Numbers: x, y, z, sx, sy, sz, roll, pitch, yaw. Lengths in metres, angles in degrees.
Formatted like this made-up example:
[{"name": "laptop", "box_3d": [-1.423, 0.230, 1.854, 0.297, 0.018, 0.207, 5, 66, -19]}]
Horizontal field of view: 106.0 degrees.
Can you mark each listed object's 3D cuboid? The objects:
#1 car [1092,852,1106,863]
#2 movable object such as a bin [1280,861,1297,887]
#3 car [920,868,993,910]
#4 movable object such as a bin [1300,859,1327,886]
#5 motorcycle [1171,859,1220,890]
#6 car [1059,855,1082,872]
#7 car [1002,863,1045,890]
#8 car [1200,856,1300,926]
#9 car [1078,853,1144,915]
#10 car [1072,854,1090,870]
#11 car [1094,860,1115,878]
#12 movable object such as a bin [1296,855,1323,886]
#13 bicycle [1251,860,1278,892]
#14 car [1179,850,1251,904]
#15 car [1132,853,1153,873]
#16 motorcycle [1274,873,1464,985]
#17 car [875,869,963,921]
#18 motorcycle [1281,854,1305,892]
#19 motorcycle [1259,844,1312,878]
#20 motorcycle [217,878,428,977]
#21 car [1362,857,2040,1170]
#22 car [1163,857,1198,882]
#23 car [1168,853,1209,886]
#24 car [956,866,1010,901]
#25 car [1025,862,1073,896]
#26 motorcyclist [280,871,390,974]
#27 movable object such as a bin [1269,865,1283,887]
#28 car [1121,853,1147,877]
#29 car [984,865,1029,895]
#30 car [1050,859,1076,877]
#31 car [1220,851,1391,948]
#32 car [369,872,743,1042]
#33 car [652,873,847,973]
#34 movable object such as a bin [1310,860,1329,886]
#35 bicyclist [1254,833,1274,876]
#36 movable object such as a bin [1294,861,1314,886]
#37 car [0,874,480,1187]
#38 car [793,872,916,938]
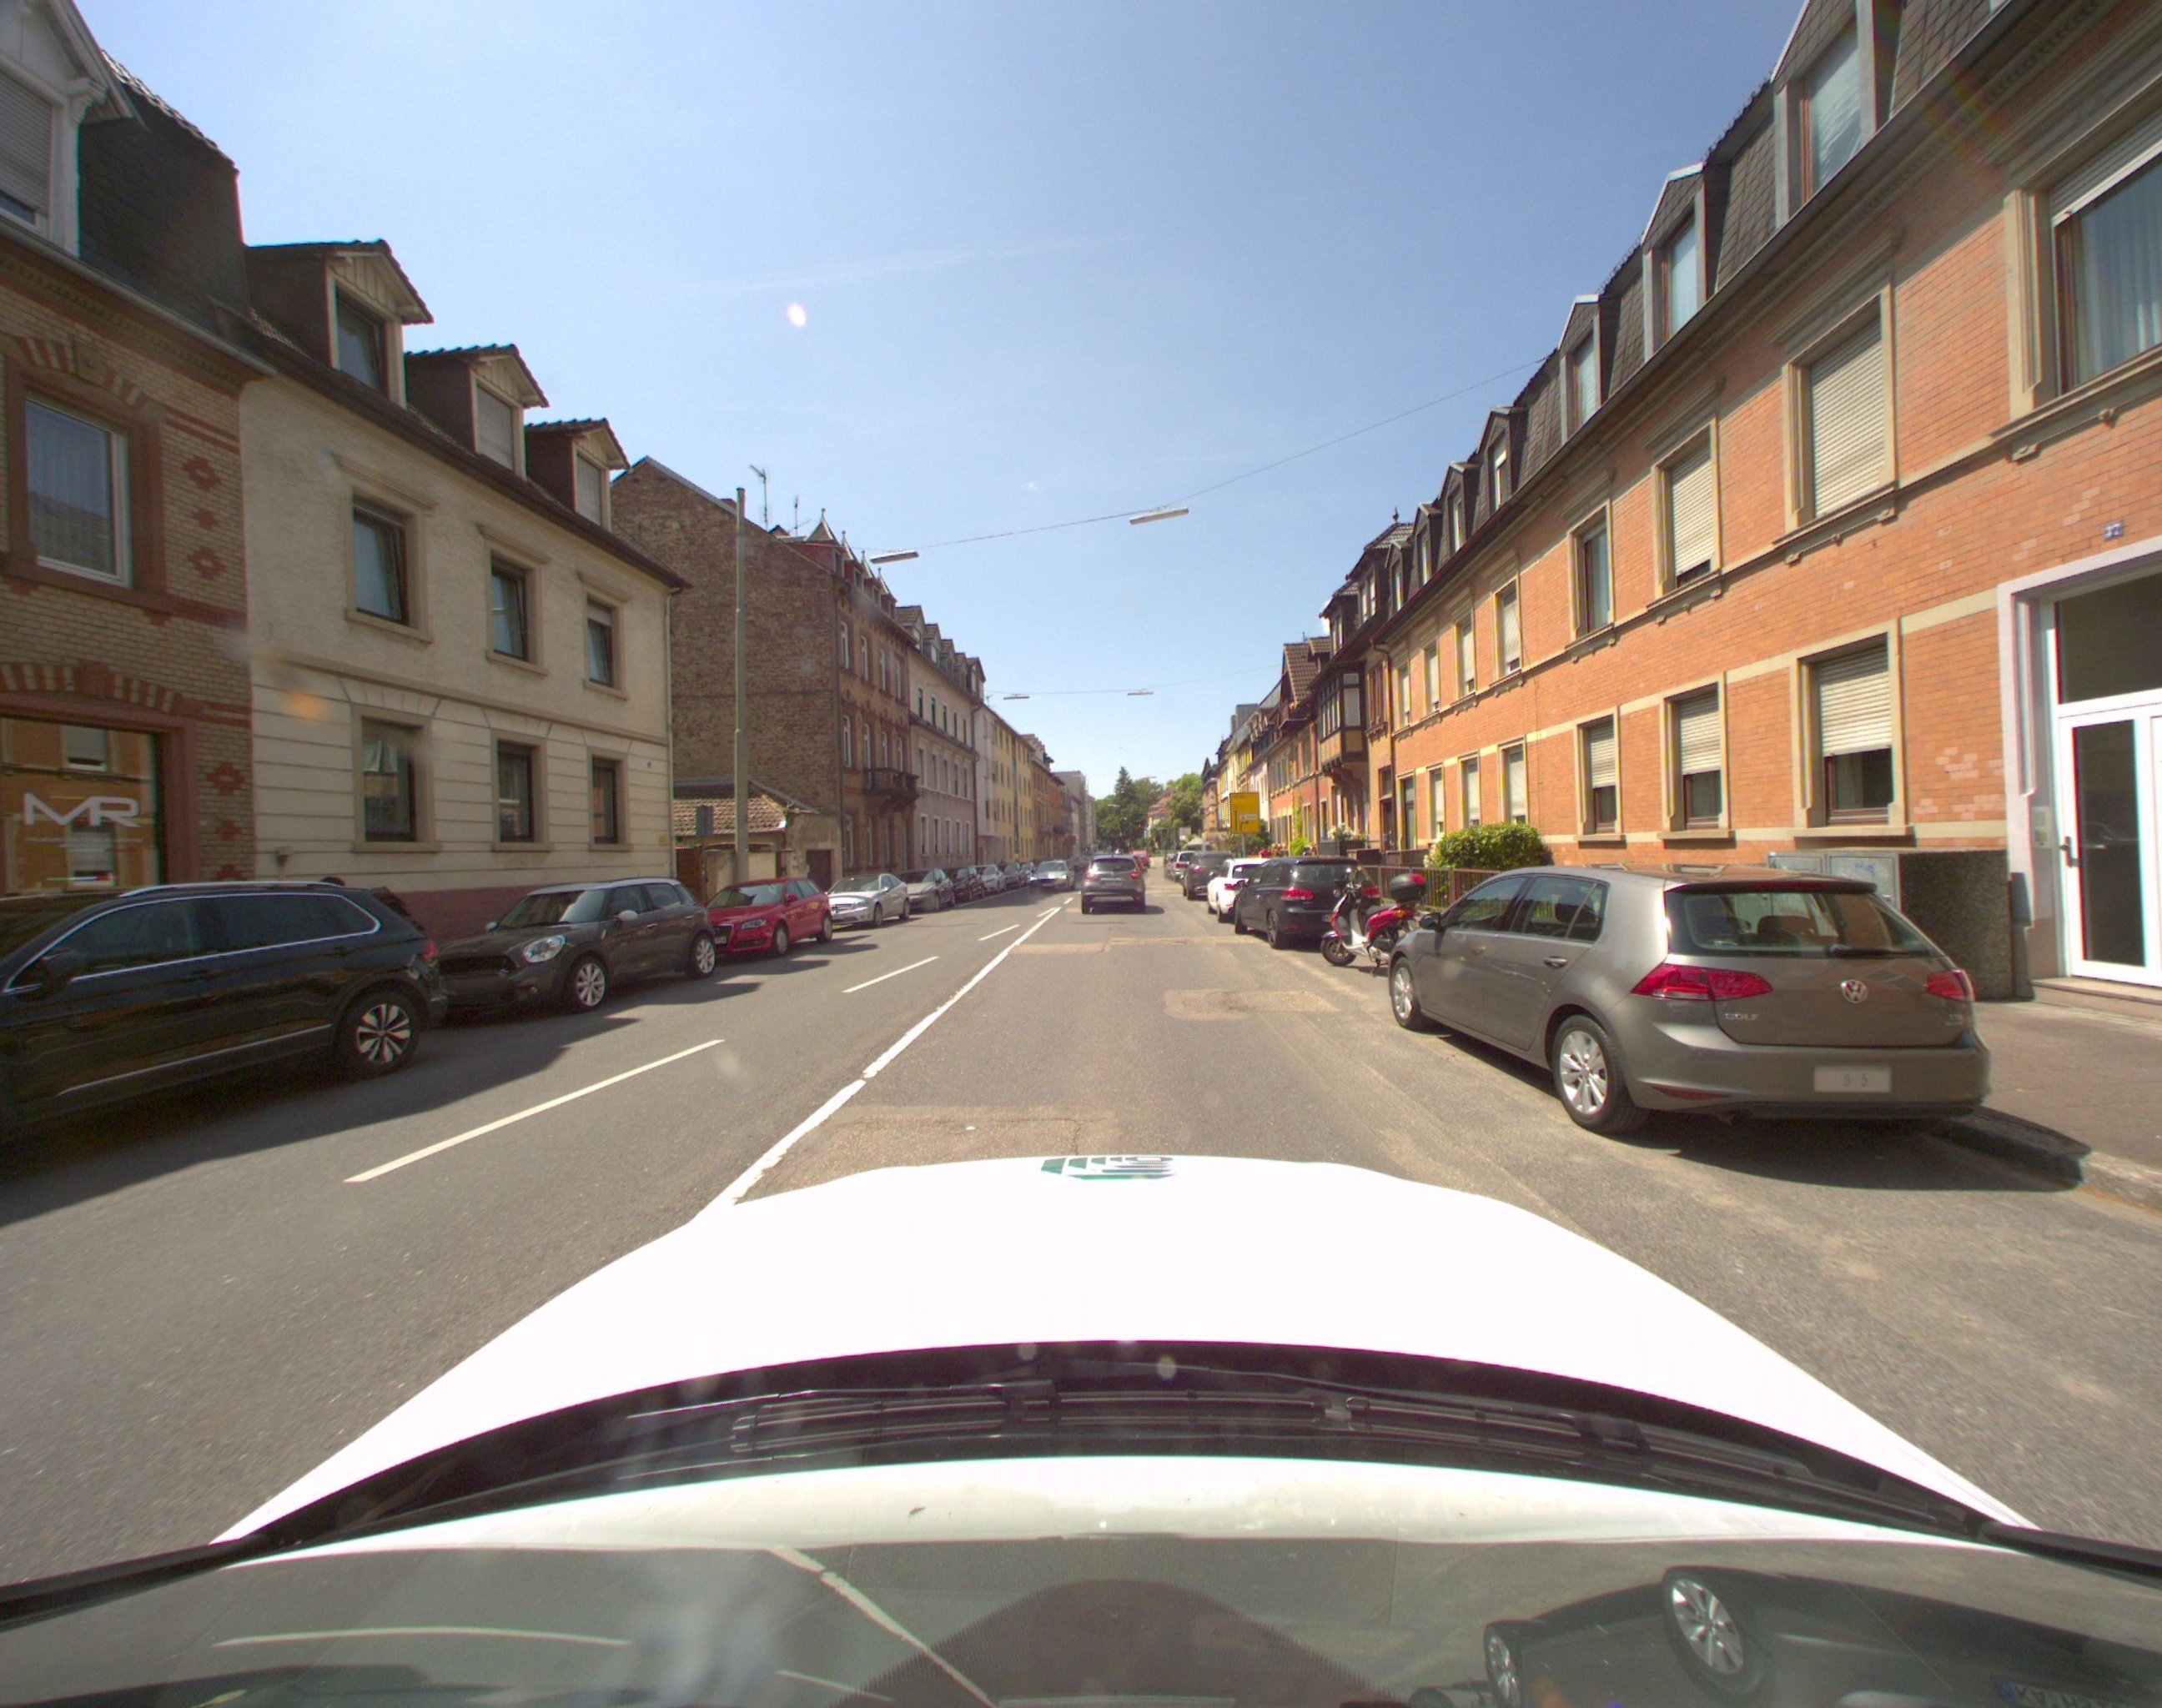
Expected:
[{"name": "car", "box_3d": [3.061, 0.594, 136.059, 1.895, 1.821, 4.309, -3, 0, 5]}, {"name": "movable object such as a bin", "box_3d": [8.930, 0.849, 35.029, 0.554, 1.076, 0.728, -2, 0, 5]}, {"name": "car", "box_3d": [-5.096, 1.401, 33.934, 1.831, 1.422, 4.508, -6, -1, 5]}, {"name": "movable object such as a bin", "box_3d": [8.235, 0.665, 28.856, 0.785, 0.907, 0.539, -3, 0, 1]}, {"name": "motorcycle", "box_3d": [5.407, 0.967, 38.607, 1.971, 1.385, 1.120, -2, -1, 42]}, {"name": "car", "box_3d": [-1.031, 0.977, 84.389, 1.896, 1.619, 4.306, -4, 0, 3]}, {"name": "car", "box_3d": [-3.542, 1.398, 50.998, 1.831, 1.422, 4.564, -5, -1, 5]}, {"name": "car", "box_3d": [3.952, 0.794, 19.705, 1.709, 1.414, 4.594, -3, 0, 4]}, {"name": "car", "box_3d": [0.936, 0.800, 23.475, 1.736, 1.616, 4.004, -1, 0, 4]}, {"name": "car", "box_3d": [0.039, 0.929, 96.082, 1.898, 1.619, 4.302, -4, 0, 0]}, {"name": "car", "box_3d": [2.573, 1.571, 88.630, 1.985, 1.792, 5.152, -3, 0, 3]}, {"name": "movable object such as a bin", "box_3d": [8.250, 0.586, 29.478, 0.785, 1.088, 0.539, -3, 0, 1]}, {"name": "bicycle", "box_3d": [6.493, 0.766, 28.894, 0.590, 1.066, 1.884, -3, 0, 4]}, {"name": "car", "box_3d": [4.599, 0.755, 28.552, 1.985, 1.662, 4.630, -3, 0, 4]}, {"name": "car", "box_3d": [6.889, 0.988, 90.659, 1.983, 2.013, 4.475, -3, 0, 7]}, {"name": "motorcycle", "box_3d": [3.599, 0.871, 10.257, 1.971, 1.225, 1.120, -1, 0, 42]}, {"name": "car", "box_3d": [-5.497, 1.346, 28.206, 1.833, 1.422, 4.504, -7, -1, 2]}, {"name": "motorcycle", "box_3d": [7.269, 0.627, 27.966, 0.438, 1.237, 1.359, -4, 0, 3]}, {"name": "motorcycle", "box_3d": [9.345, 0.321, 37.274, 2.120, 1.408, 0.938, -4, -1, 3]}, {"name": "motorcycle", "box_3d": [-9.598, 0.886, 10.432, 0.841, 1.078, 1.873, -2, 0, 3]}, {"name": "car", "box_3d": [3.548, 0.745, 5.805, 1.694, 1.380, 4.167, -2, -1, 1]}, {"name": "car", "box_3d": [6.246, 0.956, 51.607, 1.853, 1.487, 4.312, -1, 0, 2]}, {"name": "car", "box_3d": [6.067, 0.837, 46.393, 1.854, 1.748, 4.619, -1, 0, 1]}, {"name": "car", "box_3d": [-4.665, 1.378, 39.314, 1.833, 1.422, 4.504, -4, -1, 2]}, {"name": "car", "box_3d": [-1.425, 1.123, 37.982, 1.783, 1.420, 4.318, -2, 0, 3]}, {"name": "motorcyclist", "box_3d": [-9.611, 0.859, 10.517, 0.715, 1.248, 0.712, -2, 0, 2]}, {"name": "movable object such as a bin", "box_3d": [8.381, 0.939, 35.044, 0.479, 0.941, 0.527, -2, 0, 5]}, {"name": "car", "box_3d": [4.045, 0.835, 62.484, 1.805, 1.620, 4.444, -4, 0, 2]}, {"name": "car", "box_3d": [-4.083, 1.410, 45.231, 1.833, 1.422, 4.648, -4, -1, 2]}, {"name": "car", "box_3d": [-1.619, 1.241, 75.001, 1.896, 1.401, 4.760, -4, 0, 4]}, {"name": "car", "box_3d": [3.790, 0.712, 14.576, 1.644, 1.414, 4.497, -2, -1, -2]}, {"name": "car", "box_3d": [-6.596, 1.158, 11.021, 1.832, 1.596, 4.506, -6, -1, 3]}, {"name": "car", "box_3d": [-6.186, 1.208, 15.872, 1.834, 1.422, 4.502, -5, 0, 0]}, {"name": "movable object such as a bin", "box_3d": [10.234, 0.796, 34.925, 0.606, 1.076, 0.762, -2, 0, 5]}, {"name": "bicyclist", "box_3d": [6.470, 0.011, 28.858, 0.530, 1.469, 0.792, -3, -1, 4]}, {"name": "movable object such as a bin", "box_3d": [9.566, 0.839, 34.961, 0.655, 1.055, 0.749, -2, 0, 5]}, {"name": "car", "box_3d": [-6.613, 1.036, 5.271, 1.832, 1.596, 4.506, -4, -1, 3]}, {"name": "car", "box_3d": [-6.050, 1.302, 22.355, 1.832, 1.422, 4.506, -4, -1, 3]}]
